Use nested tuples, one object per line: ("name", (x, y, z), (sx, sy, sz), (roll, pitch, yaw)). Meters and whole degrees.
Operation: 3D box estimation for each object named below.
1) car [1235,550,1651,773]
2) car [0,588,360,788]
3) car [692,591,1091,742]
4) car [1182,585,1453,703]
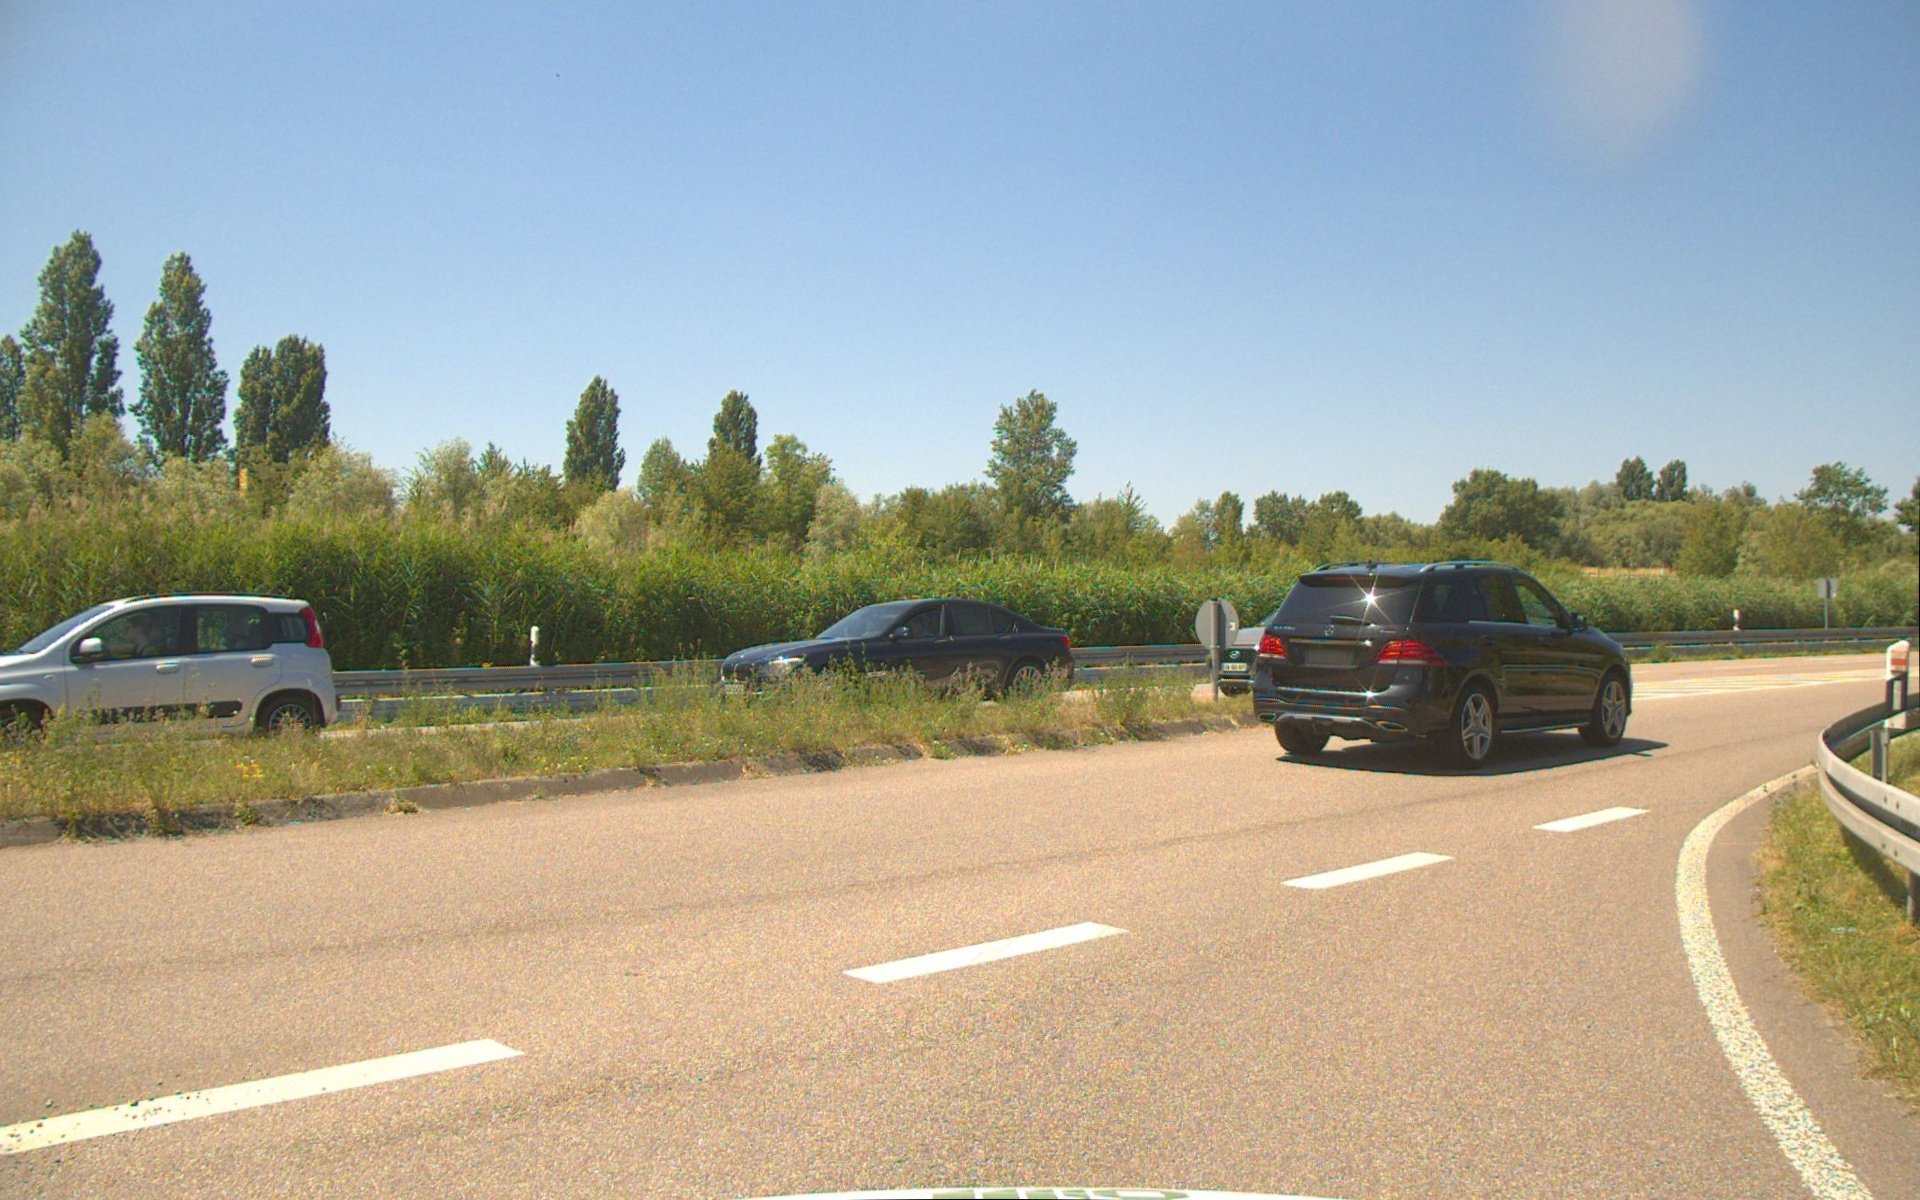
("car", (4.698, 0.501, 15.658), (1.901, 1.799, 4.565), (0, 0, 44))
("car", (-7.742, 0.750, 15.445), (3.682, 1.660, 1.710), (-1, 0, -39))
("car", (-0.785, 0.755, 21.083), (4.888, 1.660, 1.908), (-1, 0, -37))
("car", (5.624, 0.632, 25.828), (4.194, 1.660, 1.908), (-1, 0, -38))
